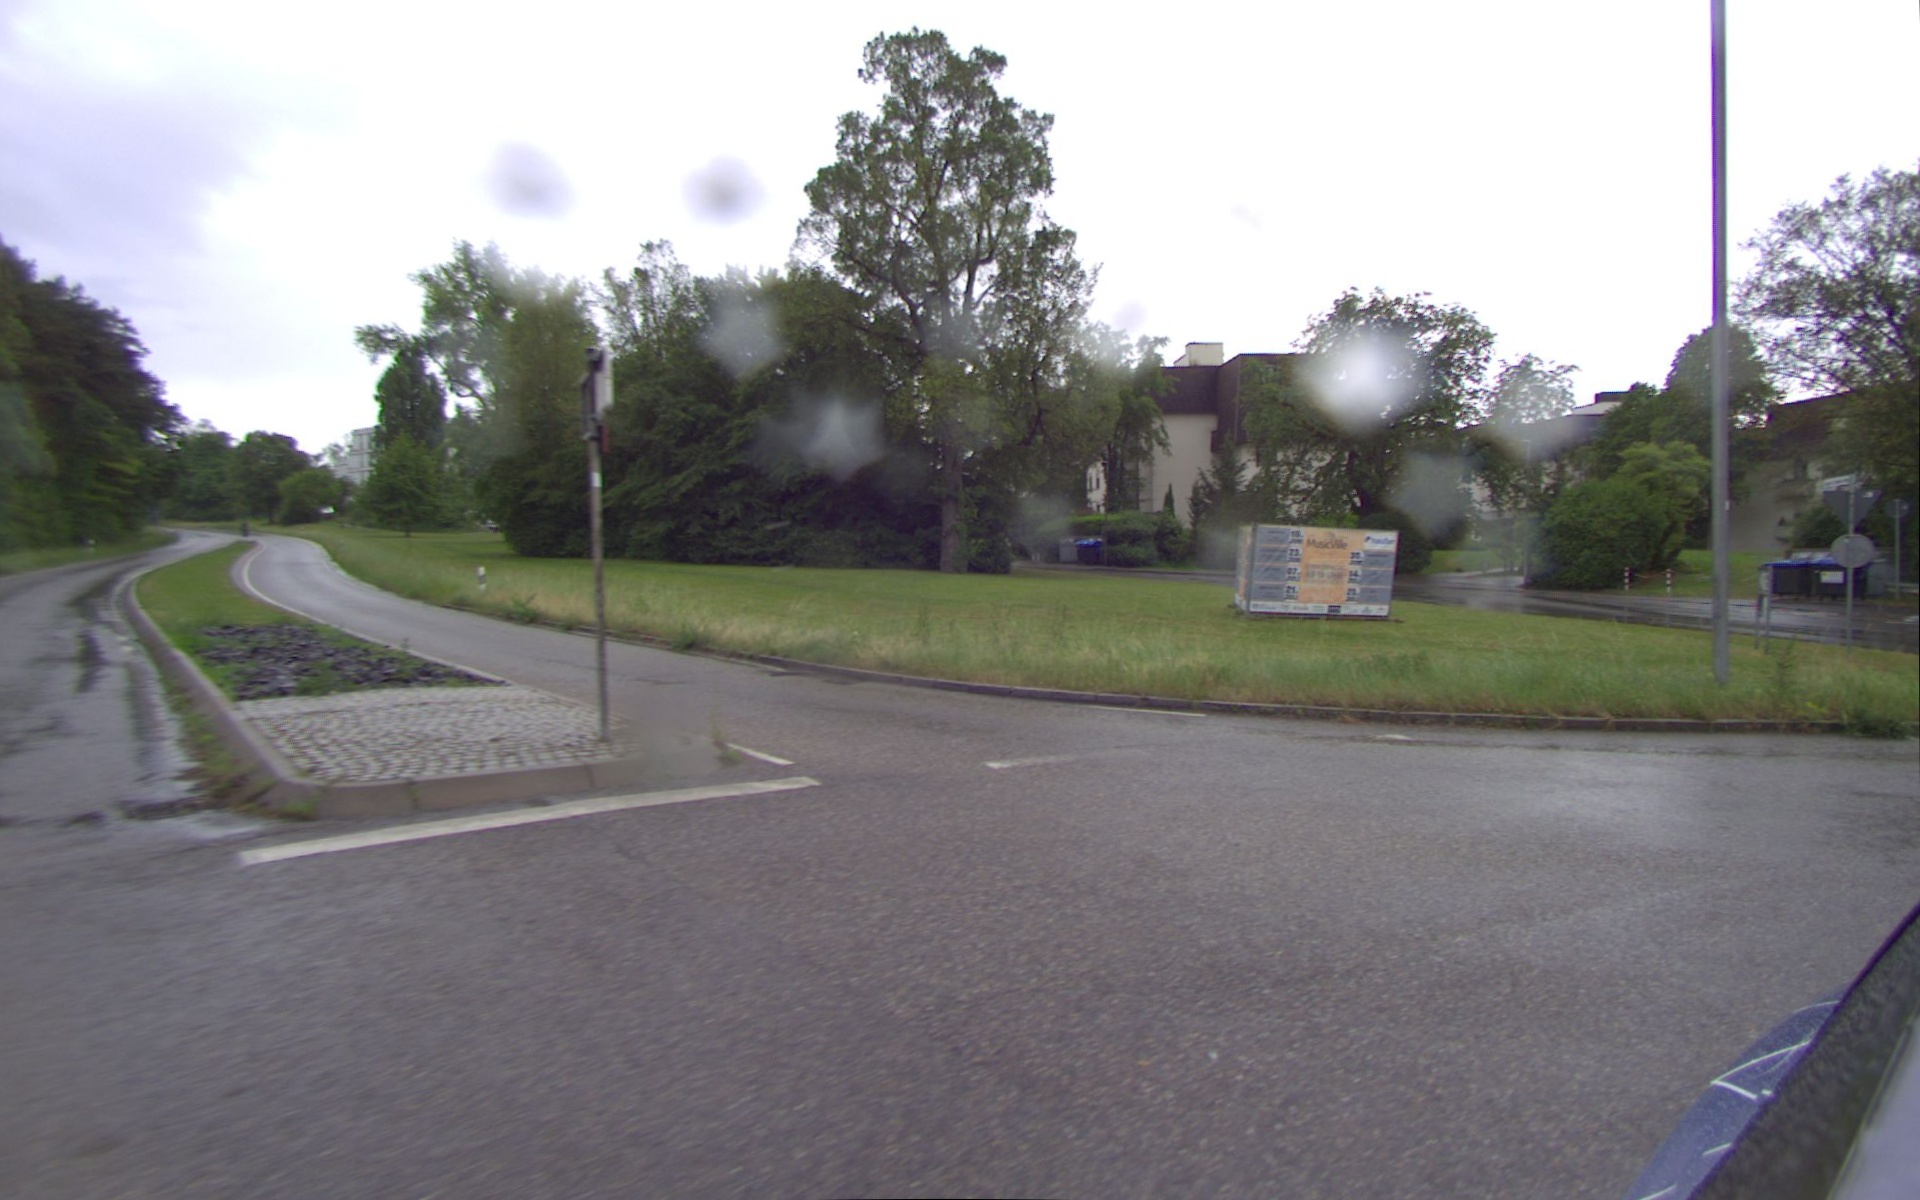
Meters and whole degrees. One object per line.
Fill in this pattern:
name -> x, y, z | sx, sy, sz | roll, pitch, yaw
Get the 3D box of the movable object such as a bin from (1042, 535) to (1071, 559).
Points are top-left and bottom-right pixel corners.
movable object such as a bin -> 5.988, -3.282, 62.852 | 1.174, 1.454, 1.430 | -1, 3, -30

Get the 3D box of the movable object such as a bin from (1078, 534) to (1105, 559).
movable object such as a bin -> 7.815, -3.179, 60.144 | 1.174, 1.454, 1.076 | -3, 4, -30

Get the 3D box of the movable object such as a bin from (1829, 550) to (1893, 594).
movable object such as a bin -> 29.431, -0.929, 33.071 | 1.173, 1.358, 1.078 | -4, 3, -14

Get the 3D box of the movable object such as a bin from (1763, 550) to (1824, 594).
movable object such as a bin -> 28.381, -0.973, 34.478 | 1.173, 1.454, 1.078 | 0, 3, -13
